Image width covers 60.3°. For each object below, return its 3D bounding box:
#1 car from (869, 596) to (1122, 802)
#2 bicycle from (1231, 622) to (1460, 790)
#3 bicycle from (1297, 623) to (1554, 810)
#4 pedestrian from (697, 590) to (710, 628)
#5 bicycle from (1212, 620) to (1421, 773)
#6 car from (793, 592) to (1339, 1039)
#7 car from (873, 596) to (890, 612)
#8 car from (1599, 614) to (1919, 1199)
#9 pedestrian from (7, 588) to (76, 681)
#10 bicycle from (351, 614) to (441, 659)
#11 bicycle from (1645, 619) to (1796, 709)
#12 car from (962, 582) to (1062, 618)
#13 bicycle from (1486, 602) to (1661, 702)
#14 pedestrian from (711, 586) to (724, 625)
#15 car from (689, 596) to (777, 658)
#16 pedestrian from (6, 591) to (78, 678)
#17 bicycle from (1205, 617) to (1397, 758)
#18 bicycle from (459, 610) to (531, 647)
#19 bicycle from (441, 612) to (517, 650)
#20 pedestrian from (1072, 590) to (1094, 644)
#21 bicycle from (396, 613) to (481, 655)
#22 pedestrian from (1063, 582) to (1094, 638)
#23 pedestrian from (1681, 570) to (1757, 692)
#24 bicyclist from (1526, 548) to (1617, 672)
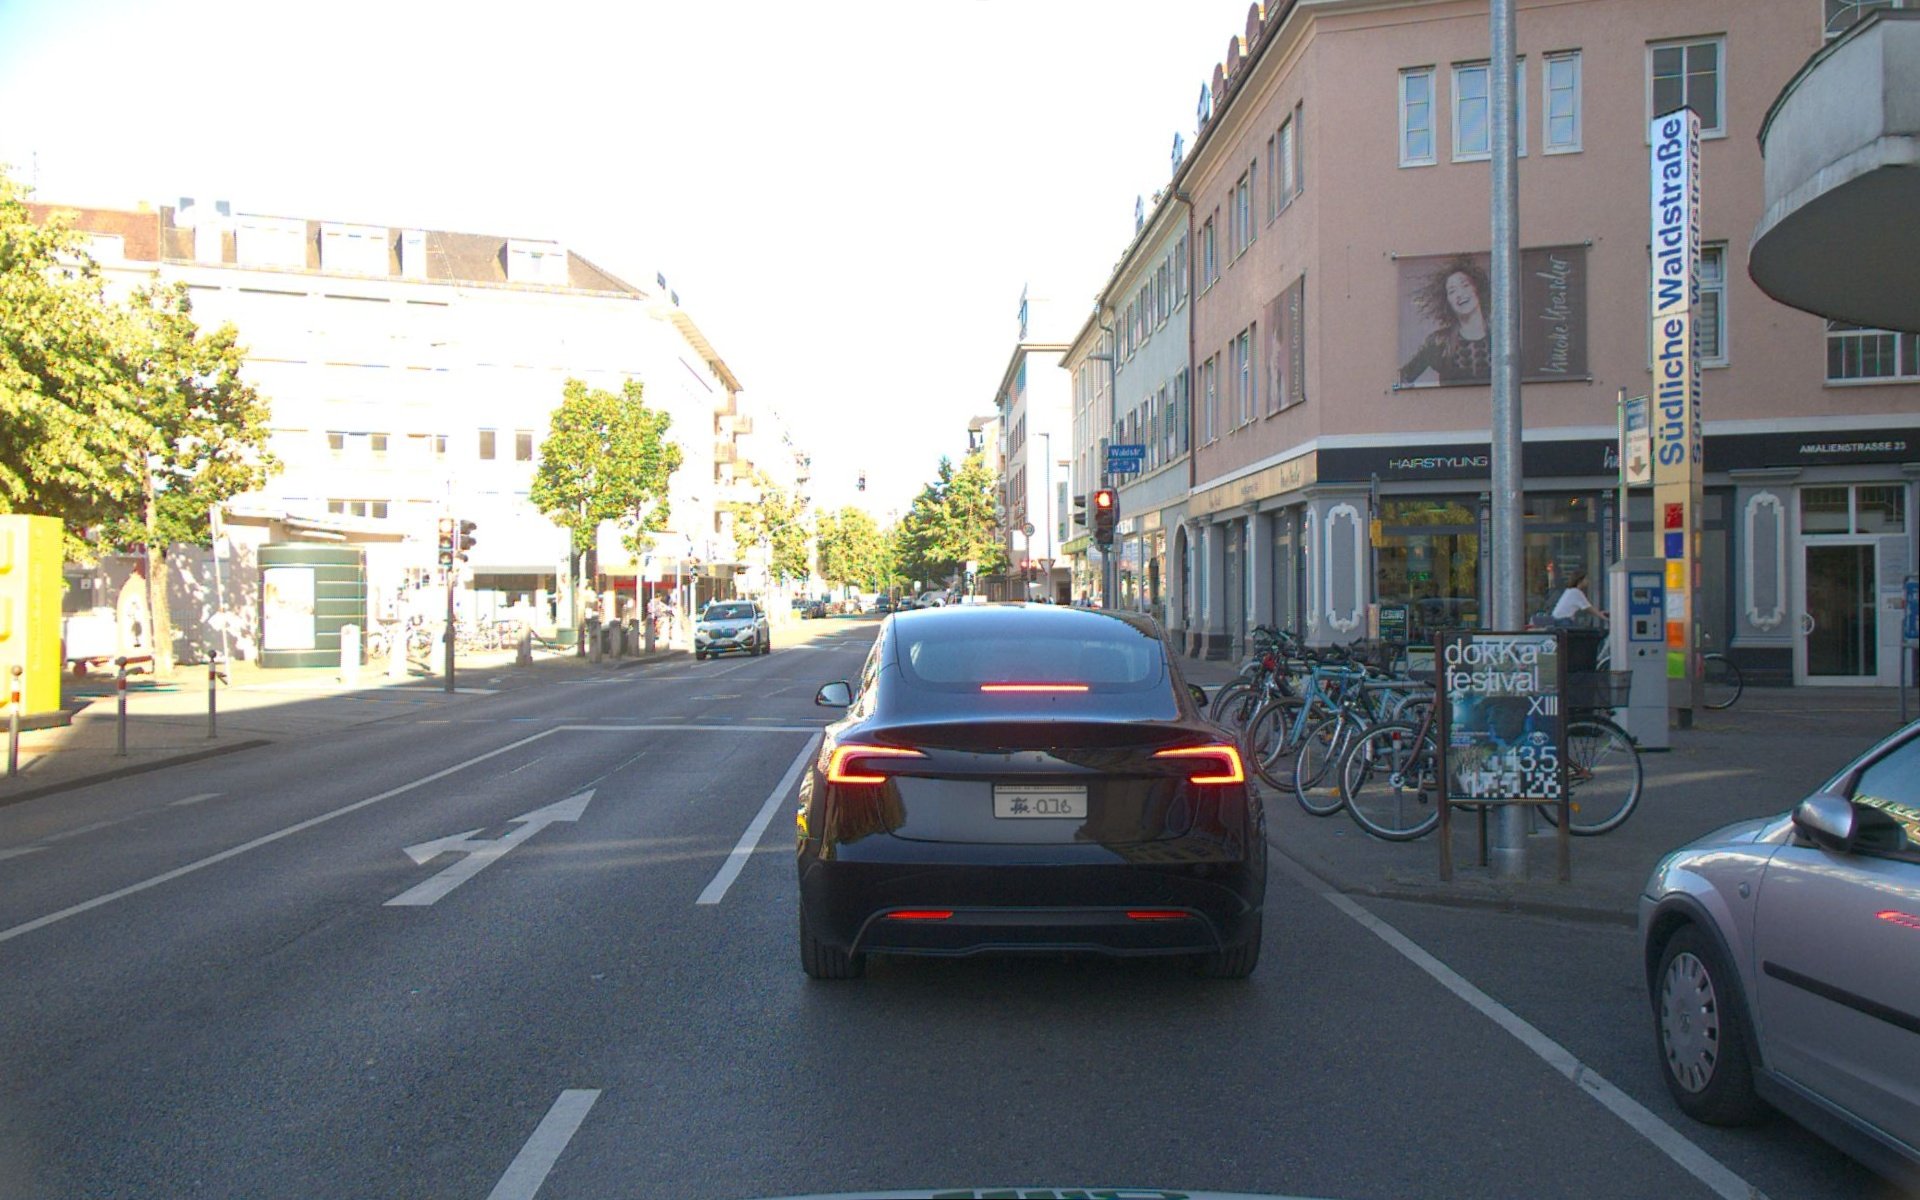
[{"bbox_3d":[0.256,0.707,13.784,1.812,1.480,3.786,0,0,0],"label":"car"},{"bbox_3d":[2.901,0.787,12.500,1.595,1.180,0.432,-2,0,-2],"label":"bicycle"},{"bbox_3d":[3.150,0.776,11.242,1.595,1.180,0.432,-2,0,-2],"label":"bicycle"},{"bbox_3d":[-13.745,0.496,88.671,0.613,2.049,0.707,0,0,-1],"label":"pedestrian"},{"bbox_3d":[2.921,0.784,13.612,1.595,1.180,0.432,-2,0,-2],"label":"bicycle"},{"bbox_3d":[0.353,0.714,7.387,1.812,1.480,3.786,0,0,0],"label":"car"},{"bbox_3d":[-8.740,0.421,184.383,1.793,1.754,3.998,0,0,-2],"label":"car"},{"bbox_3d":[2.907,0.762,3.532,1.588,1.419,3.886,0,0,0],"label":"car"},{"bbox_3d":[-17.675,0.658,31.837,0.882,1.755,0.744,0,0,3],"label":"pedestrian"},{"bbox_3d":[-14.469,0.926,42.448,2.040,1.123,0.806,0,0,-1],"label":"bicycle"},{"bbox_3d":[9.312,0.772,20.287,1.581,1.063,0.591,1,0,12],"label":"bicycle"},{"bbox_3d":[2.582,-0.001,81.733,4.544,1.757,2.056,0,0,22],"label":"car"},{"bbox_3d":[8.089,0.684,21.886,2.080,1.221,0.629,-3,-1,15],"label":"bicycle"},{"bbox_3d":[-12.974,0.284,88.676,0.613,2.049,0.575,0,0,-1],"label":"pedestrian"},{"bbox_3d":[-6.500,0.743,47.757,1.953,1.567,3.999,-3,0,-1],"label":"car"},{"bbox_3d":[-17.749,0.654,31.997,0.966,1.665,0.737,0,0,3],"label":"pedestrian"},{"bbox_3d":[3.039,0.771,14.795,1.594,1.180,0.433,-2,0,0],"label":"bicycle"},{"bbox_3d":[-14.588,0.891,51.934,2.040,1.123,0.806,0,0,-1],"label":"bicycle"},{"bbox_3d":[-14.444,0.932,49.743,2.040,1.123,0.806,0,0,-1],"label":"bicycle"},{"bbox_3d":[4.157,0.579,55.953,0.689,1.814,0.533,0,0,-1],"label":"pedestrian"},{"bbox_3d":[-14.175,0.914,44.972,2.040,1.123,0.806,0,0,-1],"label":"bicycle"},{"bbox_3d":[4.017,0.351,56.008,0.979,1.883,0.615,0,0,-1],"label":"pedestrian"},{"bbox_3d":[9.302,0.368,20.299,0.727,1.466,0.583,1,-1,12],"label":"pedestrian"},{"bbox_3d":[8.084,0.125,21.893,1.074,1.617,0.629,0,0,15],"label":"bicyclist"}]
